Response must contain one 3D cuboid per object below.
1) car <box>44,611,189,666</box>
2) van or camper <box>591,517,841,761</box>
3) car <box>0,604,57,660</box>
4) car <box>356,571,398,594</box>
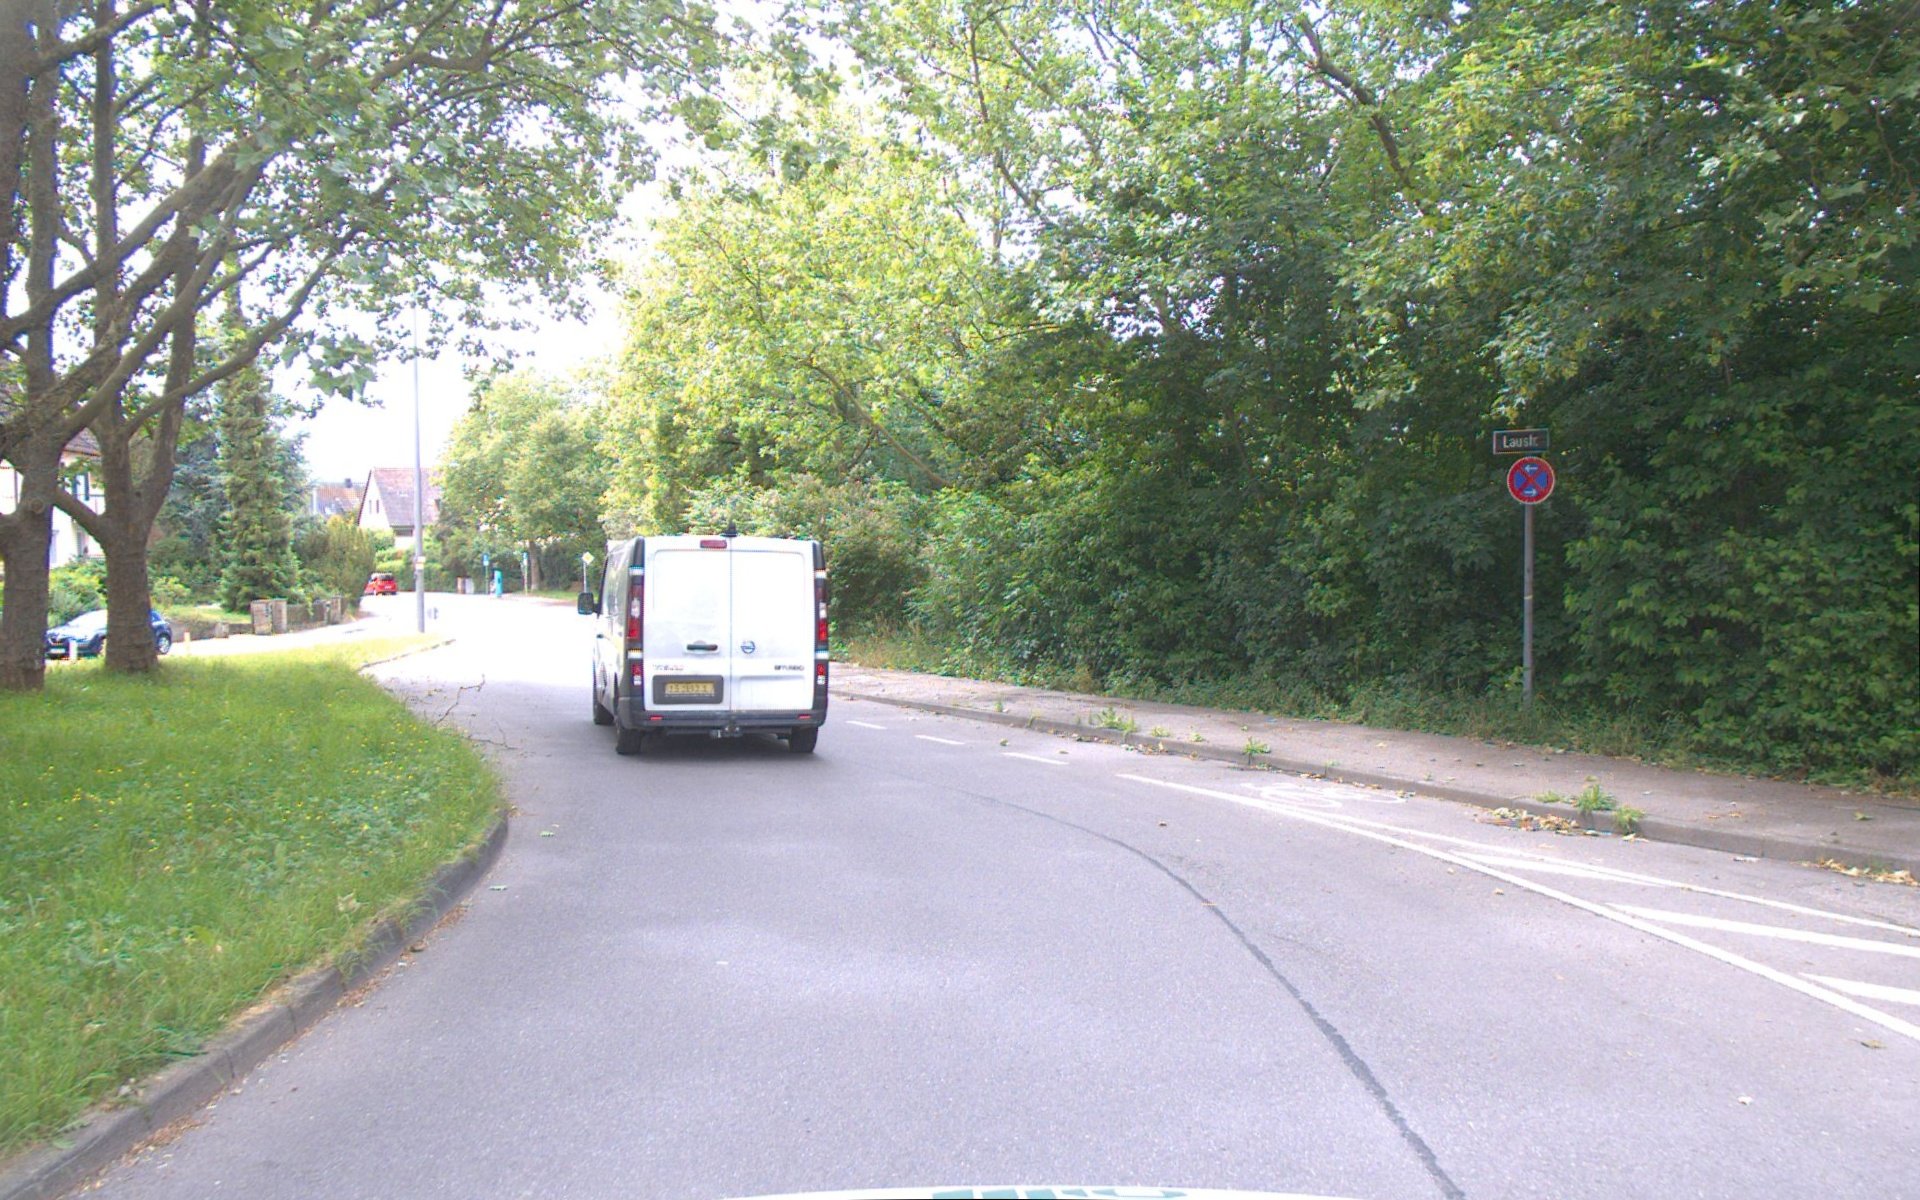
[{"bbox_3d":[-25.769,1.141,50.696,1.690,1.499,4.319,-1,1,10],"label":"car"},{"bbox_3d":[-2.576,0.208,16.426,1.892,2.048,4.810,0,3,-15],"label":"van or camper"},{"bbox_3d":[-27.353,0.916,45.724,1.690,1.499,4.282,-1,1,15],"label":"car"},{"bbox_3d":[-48.160,-1.429,136.534,1.749,1.828,4.879,-2,2,-39],"label":"car"}]
